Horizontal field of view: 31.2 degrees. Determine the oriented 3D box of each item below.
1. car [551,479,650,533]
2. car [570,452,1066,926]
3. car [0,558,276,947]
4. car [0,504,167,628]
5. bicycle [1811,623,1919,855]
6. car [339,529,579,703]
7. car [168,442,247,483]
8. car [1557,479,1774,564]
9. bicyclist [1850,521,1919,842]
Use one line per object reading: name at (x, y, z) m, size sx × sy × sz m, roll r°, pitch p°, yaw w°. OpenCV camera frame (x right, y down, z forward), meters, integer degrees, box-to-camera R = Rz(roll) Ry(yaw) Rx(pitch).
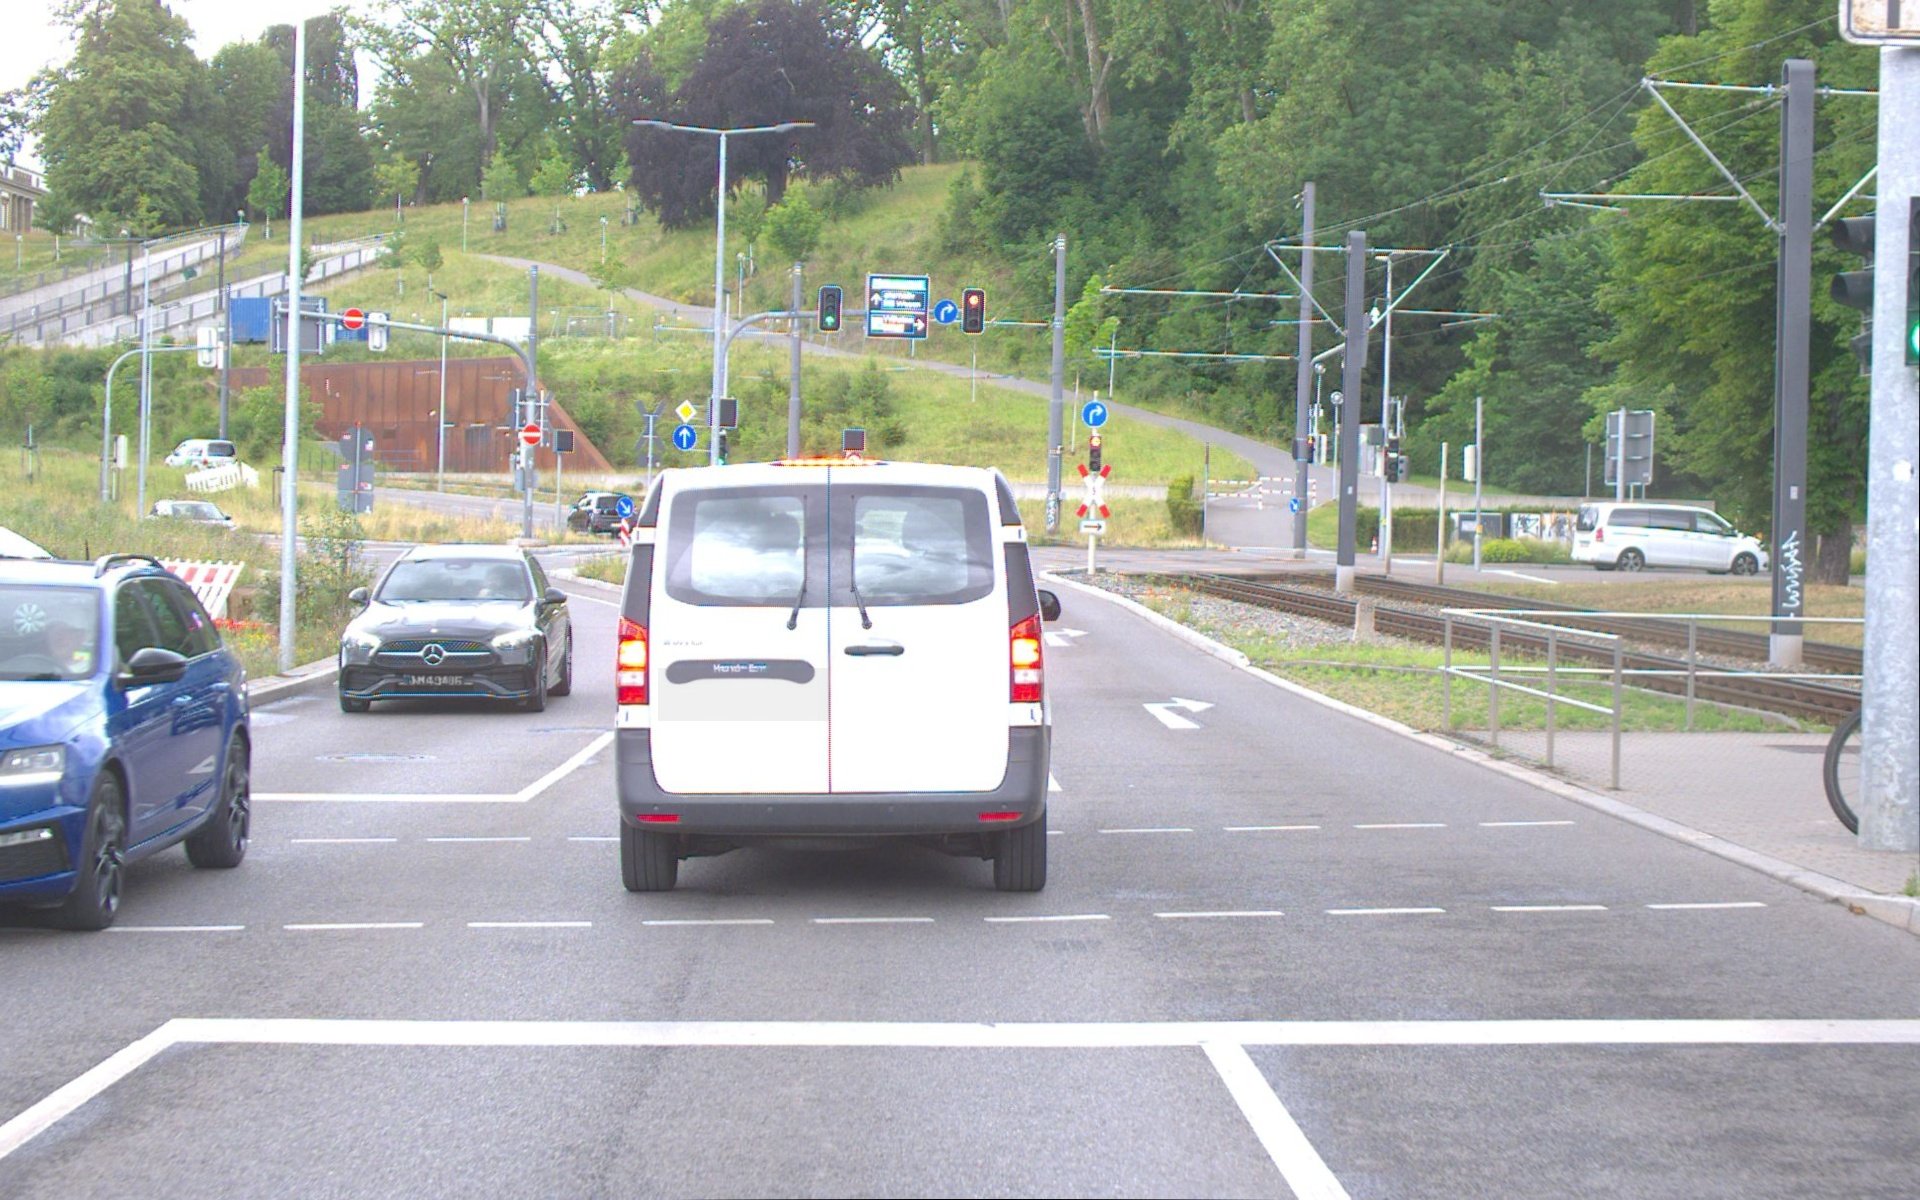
car at (-11.872, -3.125, 113.434) m, size 1.937 × 1.621 × 4.001 m, roll 2°, pitch 2°, yaw -26°
car at (-0.510, 0.307, 16.216) m, size 1.959 × 1.897 × 4.461 m, roll -1°, pitch 1°, yaw 2°
car at (-4.189, 0.532, 14.791) m, size 1.730 × 1.416 × 4.445 m, roll 0°, pitch 1°, yaw -2°
car at (-12.750, -0.476, 43.889) m, size 4.711 × 1.472 × 1.999 m, roll 1°, pitch 2°, yaw 9°
bicycle at (5.082, 0.671, 17.343) m, size 1.679 × 1.070 × 0.620 m, roll 0°, pitch 3°, yaw -40°
car at (-4.629, 0.111, 32.317) m, size 1.730 × 1.523 × 4.445 m, roll 0°, pitch 1°, yaw -2°
car at (-32.480, -5.946, 148.331) m, size 1.937 × 1.621 × 4.000 m, roll 1°, pitch 2°, yaw -33°
car at (18.728, -2.081, 91.362) m, size 5.133 × 2.007 × 2.208 m, roll 2°, pitch 1°, yaw -10°
bicyclist at (4.999, 0.403, 17.259) m, size 0.804 × 1.566 × 0.618 m, roll 0°, pitch 3°, yaw -40°
